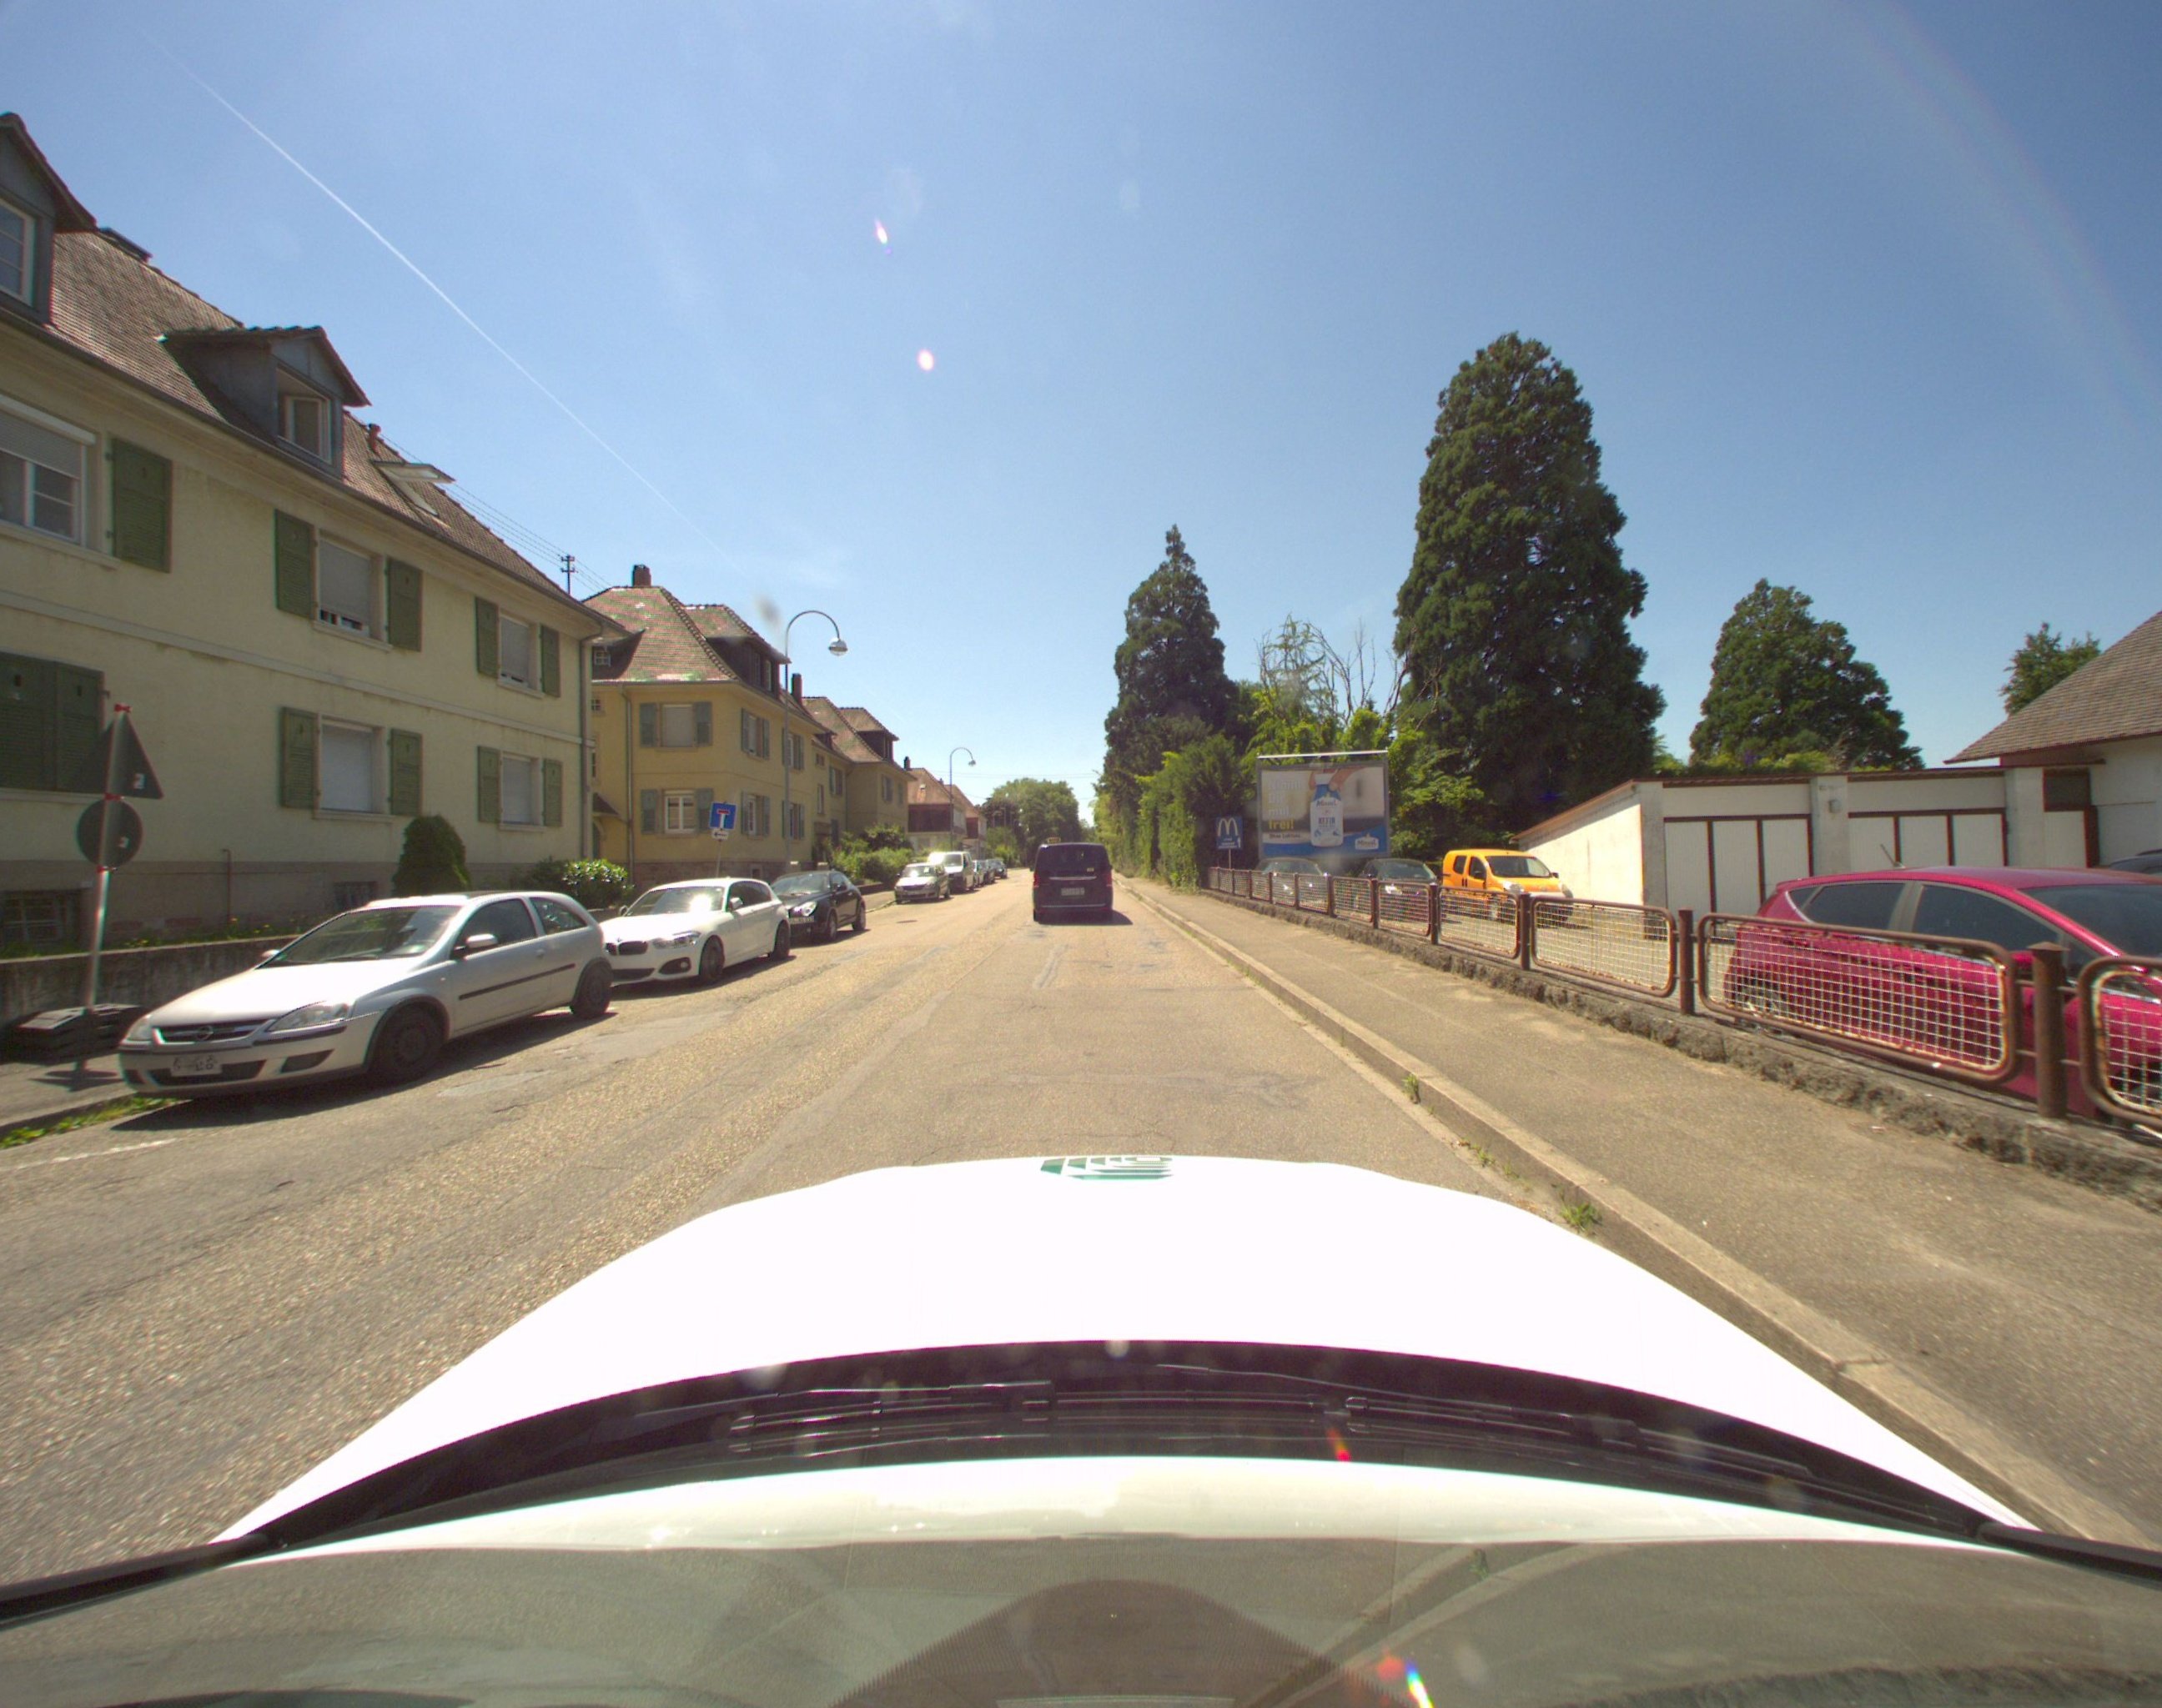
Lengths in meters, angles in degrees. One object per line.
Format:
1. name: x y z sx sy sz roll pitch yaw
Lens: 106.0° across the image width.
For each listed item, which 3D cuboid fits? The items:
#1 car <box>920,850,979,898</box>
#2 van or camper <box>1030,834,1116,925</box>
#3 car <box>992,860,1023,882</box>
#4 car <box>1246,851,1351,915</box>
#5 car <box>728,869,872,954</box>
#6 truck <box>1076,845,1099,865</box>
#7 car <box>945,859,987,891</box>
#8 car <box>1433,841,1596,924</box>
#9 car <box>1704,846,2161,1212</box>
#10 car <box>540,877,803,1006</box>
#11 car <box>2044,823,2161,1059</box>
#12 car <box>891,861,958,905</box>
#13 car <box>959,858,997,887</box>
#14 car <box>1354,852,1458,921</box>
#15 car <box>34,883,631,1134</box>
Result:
1. car: -6.044 0.867 37.867 1.872 1.963 4.624 -4 0 0
2. van or camper: -0.188 0.588 20.835 1.897 2.014 5.268 -1 0 0
3. car: -5.136 1.188 57.503 1.660 1.386 4.380 -3 0 0
4. car: 5.503 0.699 21.010 1.627 1.459 3.553 2 0 -2
5. car: -5.848 1.121 17.485 1.711 1.485 4.073 -3 -1 -2
6. truck: 0.739 0.128 100.466 2.351 2.258 6.083 -2 0 -4
7. car: -6.100 1.103 43.412 1.661 1.492 3.477 -4 0 -1
8. car: 10.613 0.648 20.330 1.769 1.800 4.164 2 0 -1
9. car: 5.567 0.739 4.471 1.702 1.523 3.848 -2 0 8
10. car: -5.763 1.135 12.149 1.789 1.402 4.216 -3 0 -1
11. car: 8.159 0.611 4.240 1.700 1.665 4.475 0 0 12
12. car: -6.022 1.066 31.731 1.680 1.525 4.063 -2 0 1
13. car: -5.960 1.047 47.613 1.661 1.492 4.464 -1 0 0
14. car: 8.222 0.782 20.885 1.623 1.543 3.398 2 0 7
15. car: -6.039 1.091 7.365 1.754 1.447 3.922 -3 0 -1
